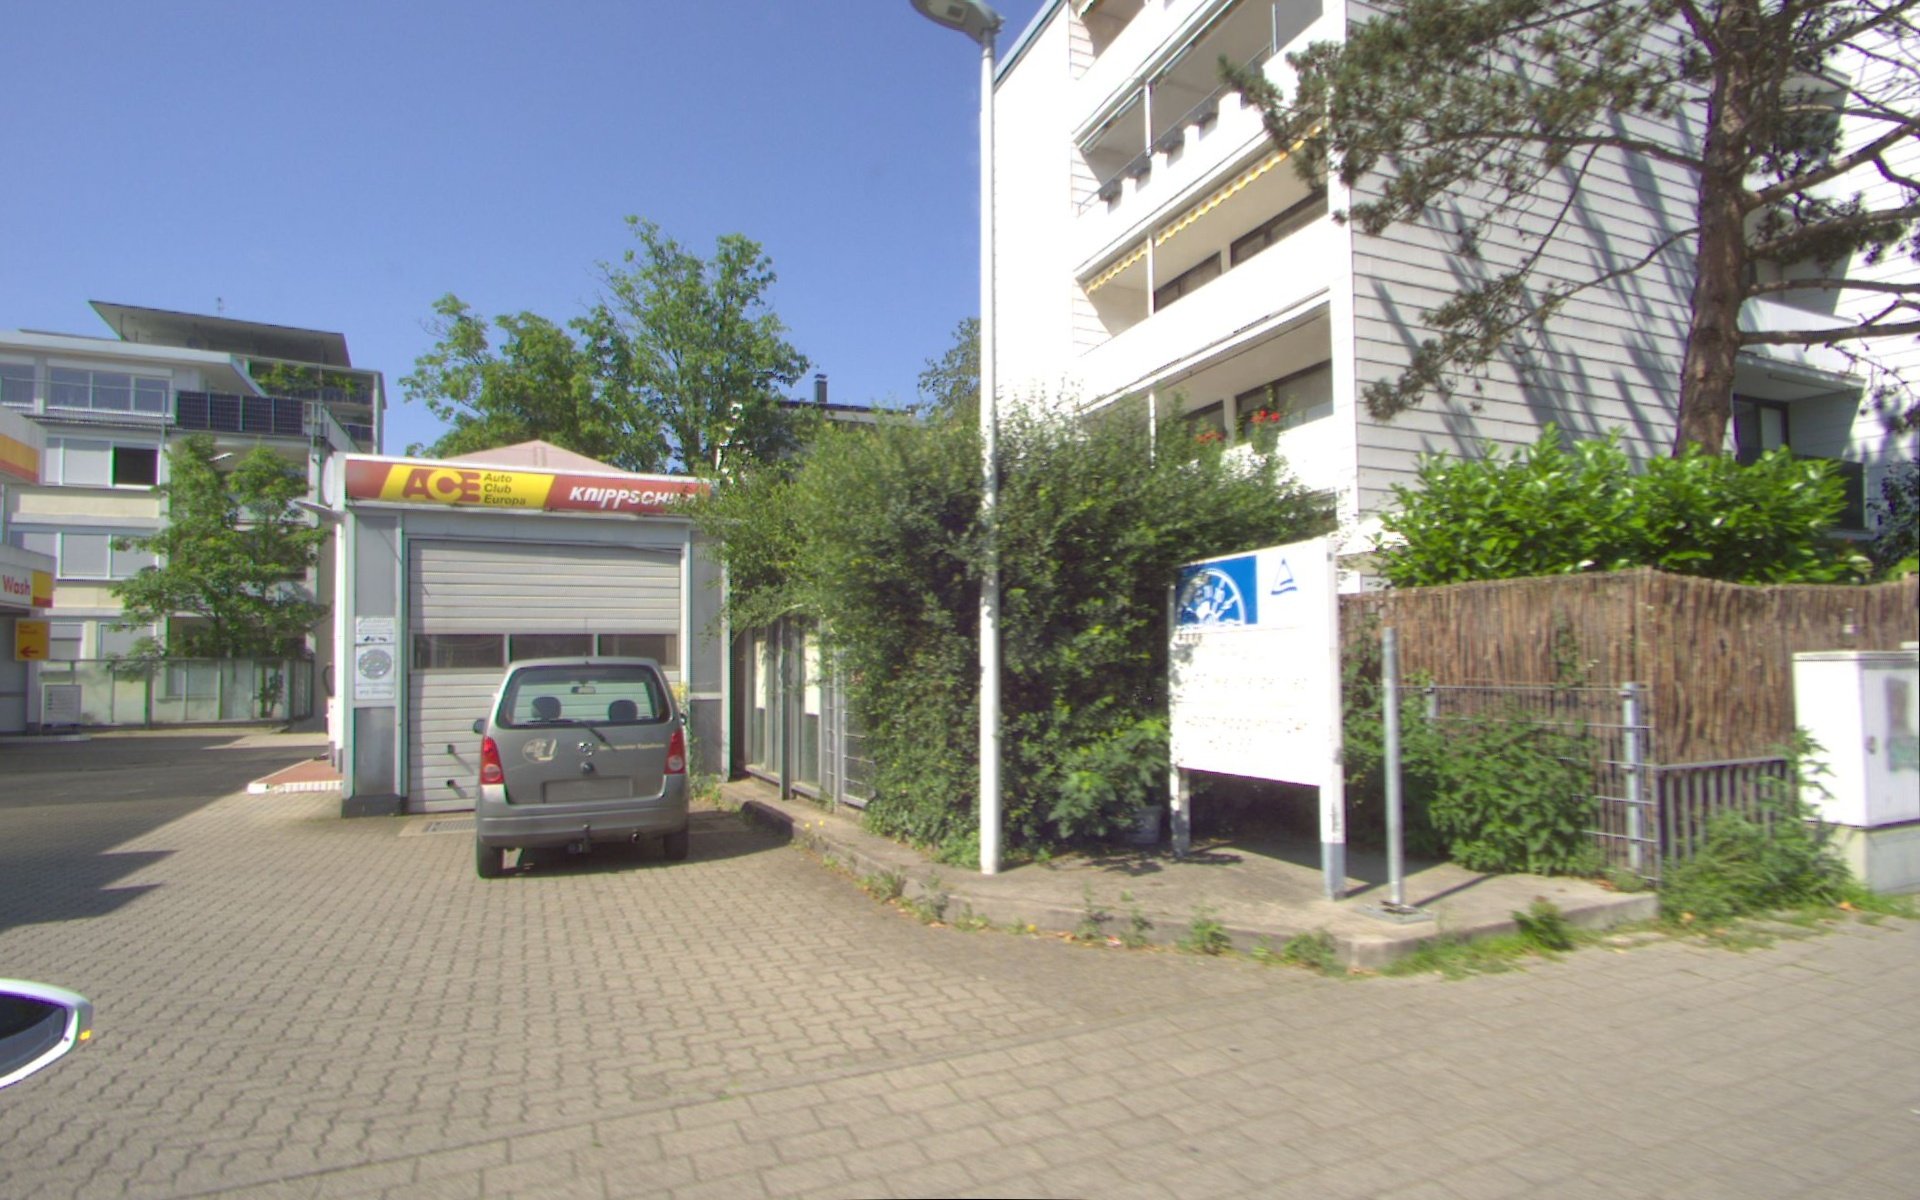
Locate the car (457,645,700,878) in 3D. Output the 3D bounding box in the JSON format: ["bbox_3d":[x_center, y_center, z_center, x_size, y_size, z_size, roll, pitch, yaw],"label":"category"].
[{"bbox_3d":[-3.430,1.325,9.106,1.664,1.636,3.658,1,-5,-21],"label":"car"}]
